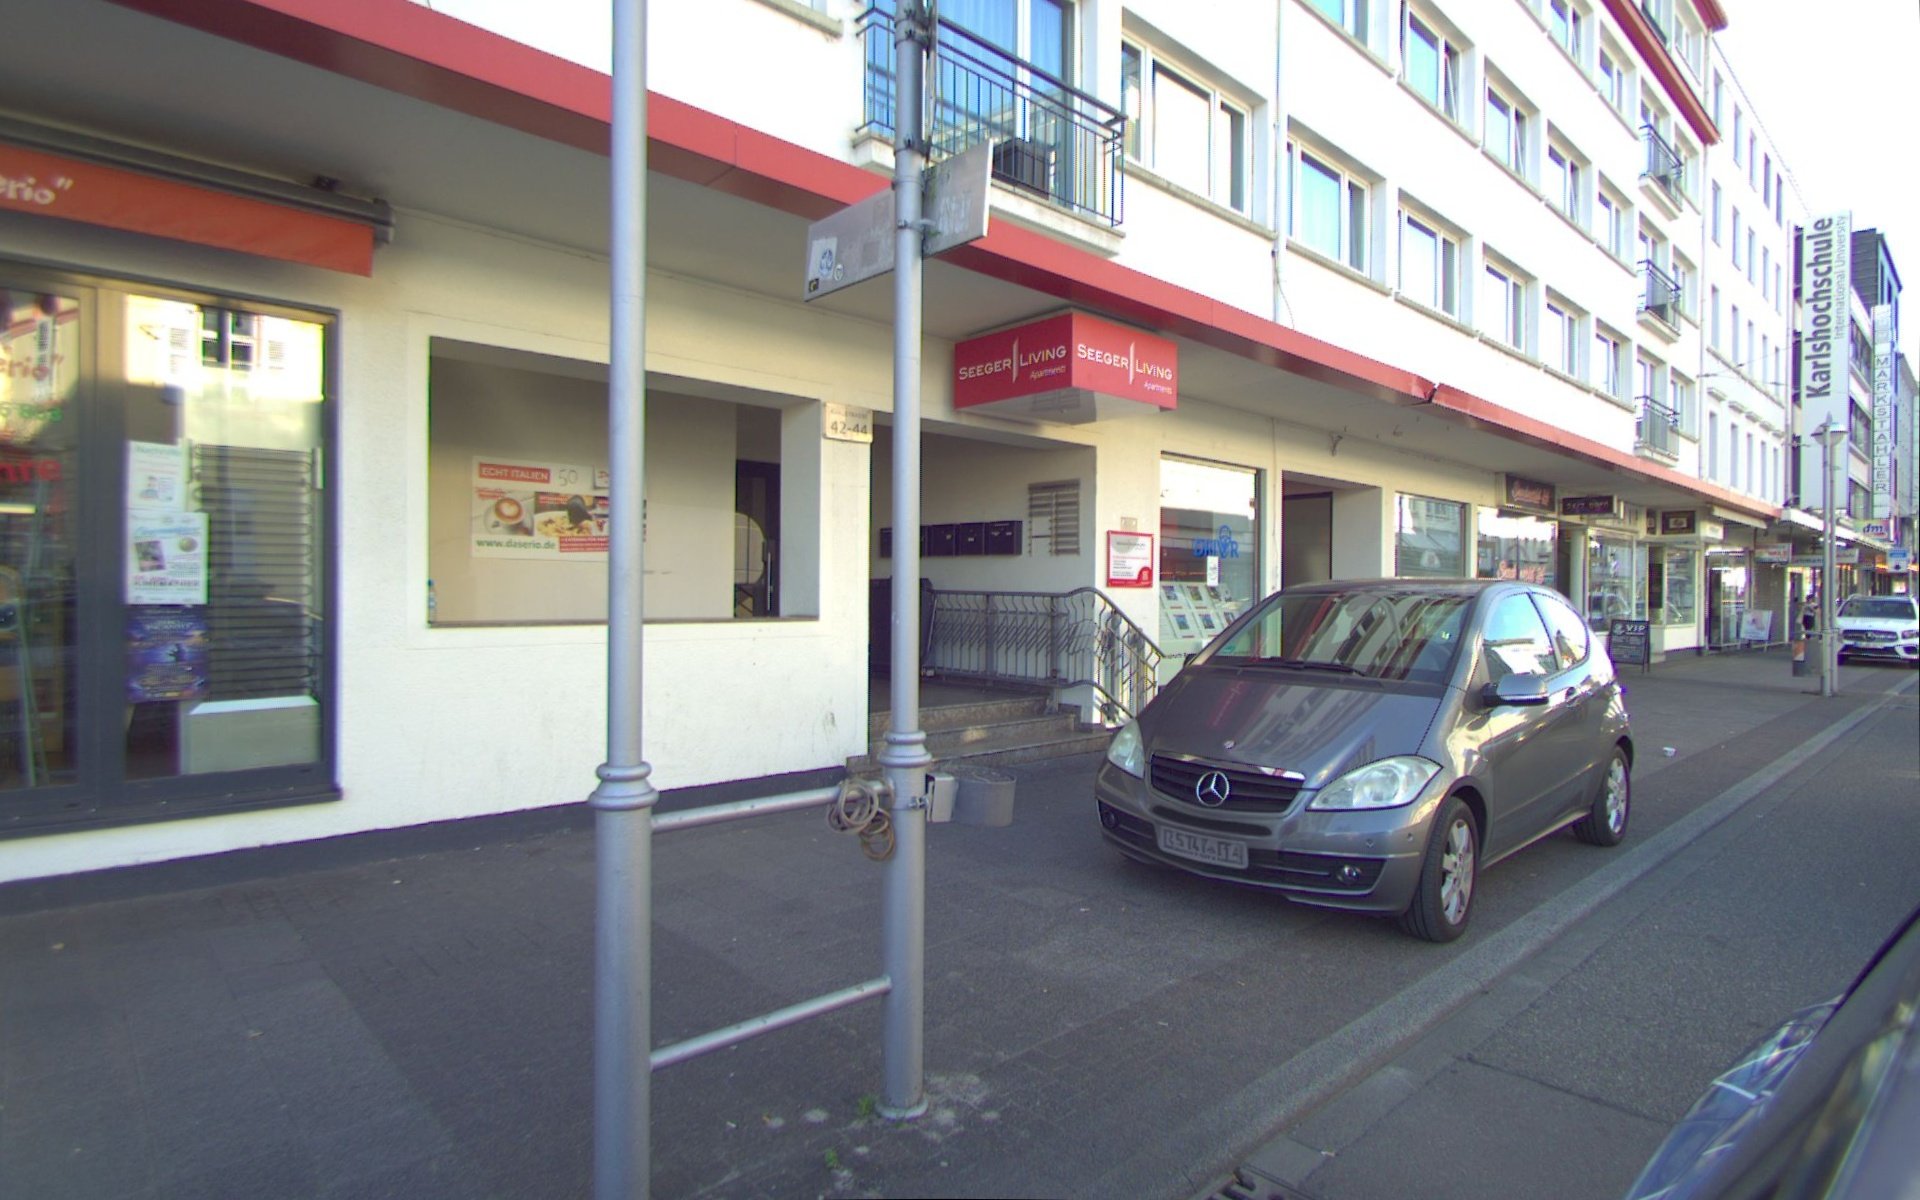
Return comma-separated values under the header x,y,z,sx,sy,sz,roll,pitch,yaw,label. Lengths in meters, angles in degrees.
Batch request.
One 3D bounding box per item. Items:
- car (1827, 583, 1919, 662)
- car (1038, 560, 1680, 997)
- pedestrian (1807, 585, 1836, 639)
x,y,z,sx,sy,sz,roll,pitch,yaw,label
22.182,0.467,24.105,4.092,1.684,1.781,-1,2,-42,car
2.430,0.605,5.659,3.893,1.588,1.780,-1,2,-42,car
29.856,0.408,35.076,0.794,1.840,0.704,0,0,-44,pedestrian
